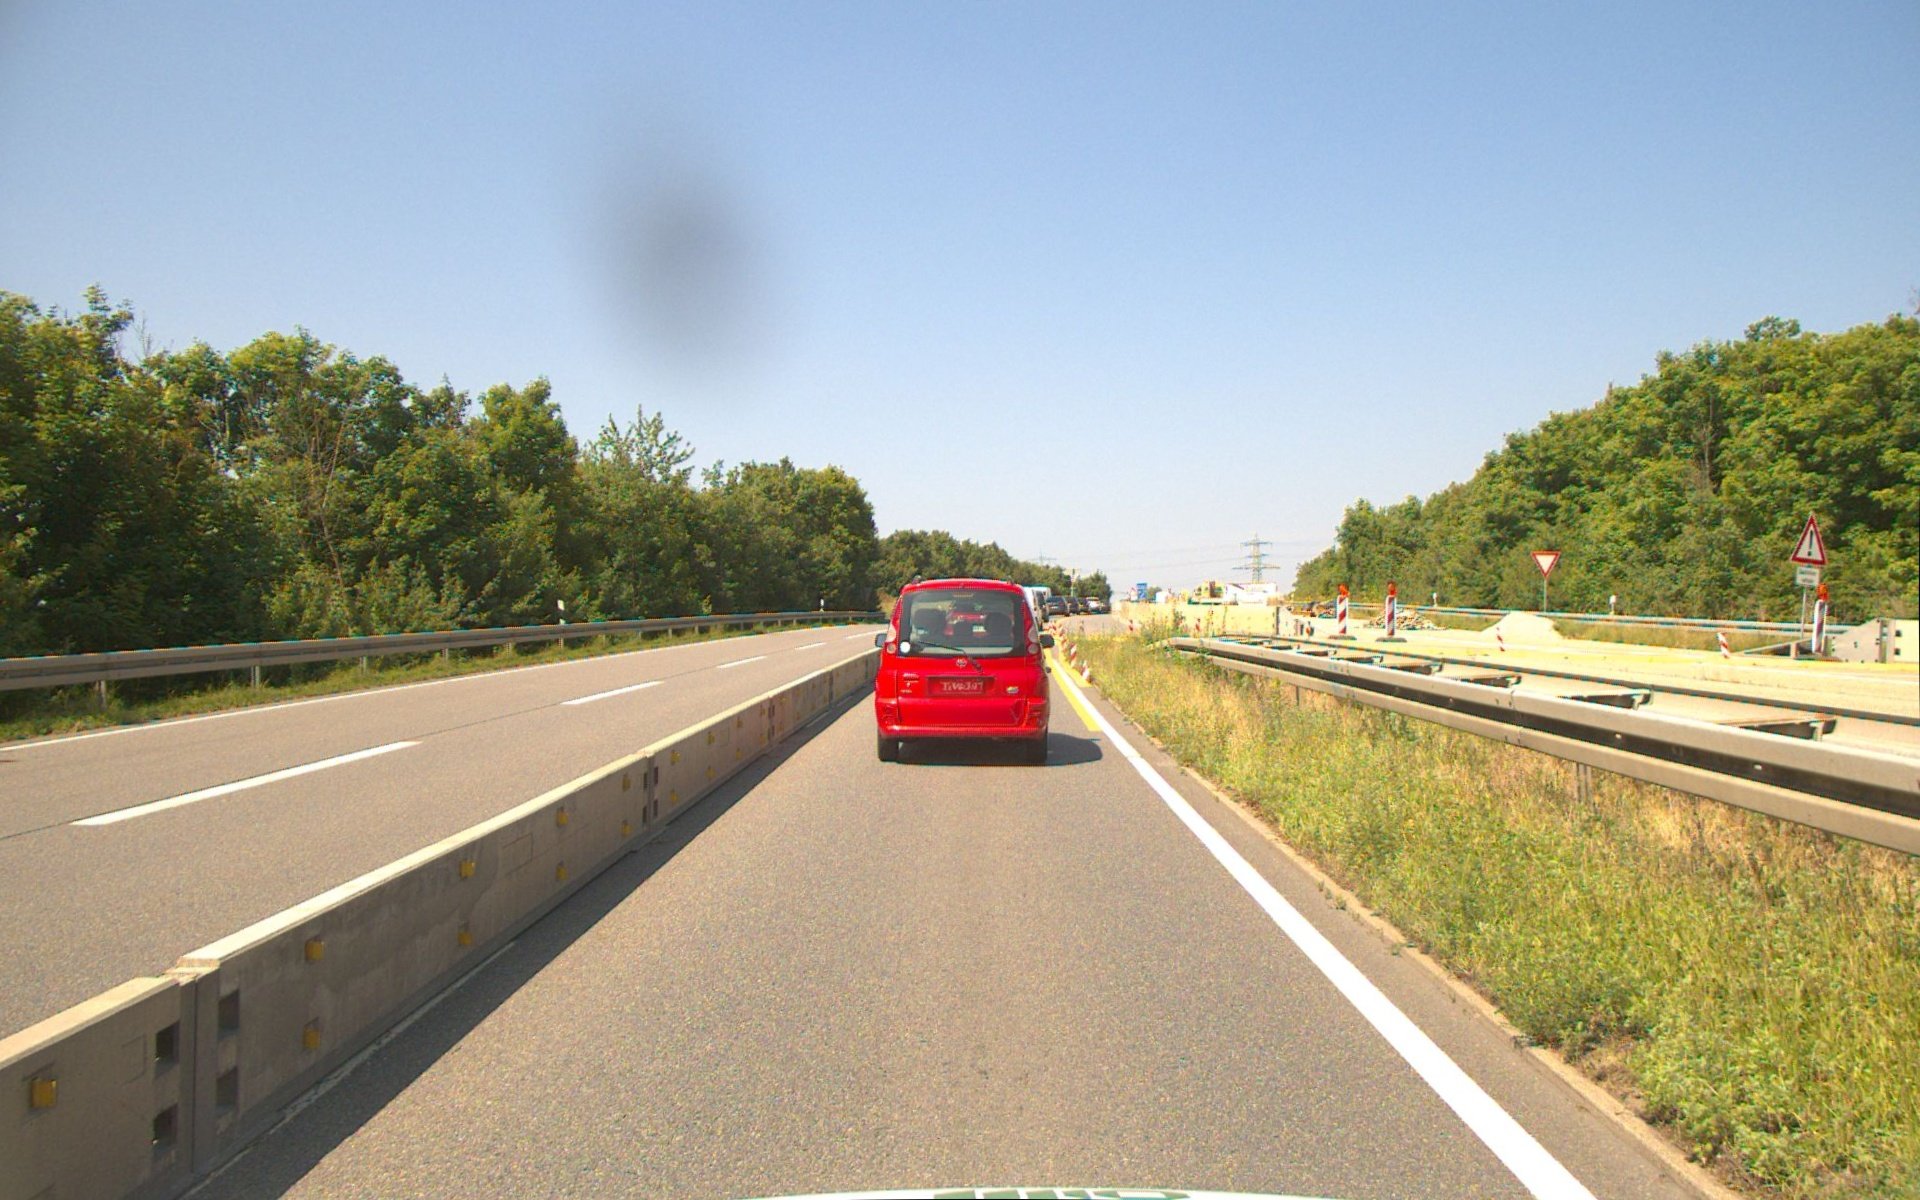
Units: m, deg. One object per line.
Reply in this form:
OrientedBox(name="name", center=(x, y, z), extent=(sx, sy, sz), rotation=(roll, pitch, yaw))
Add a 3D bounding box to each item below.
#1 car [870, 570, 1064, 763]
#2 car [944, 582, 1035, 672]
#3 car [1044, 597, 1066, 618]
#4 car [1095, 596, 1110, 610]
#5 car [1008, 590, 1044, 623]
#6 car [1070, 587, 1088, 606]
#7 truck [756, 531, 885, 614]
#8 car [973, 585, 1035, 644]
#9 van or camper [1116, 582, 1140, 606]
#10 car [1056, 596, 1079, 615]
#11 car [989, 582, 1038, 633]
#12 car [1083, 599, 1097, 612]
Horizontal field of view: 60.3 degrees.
OrientedBox(name="car", center=(0.065, 0.594, 16.689), extent=(1.716, 1.702, 4.000), rotation=(0, 0, 0))
OrientedBox(name="car", center=(0.617, 0.532, 34.670), extent=(1.792, 1.752, 4.000), rotation=(0, 0, 1))
OrientedBox(name="car", center=(6.900, 0.529, 120.131), extent=(1.471, 1.476, 3.325), rotation=(-1, 0, 1))
OrientedBox(name="car", center=(16.030, 0.331, 186.189), extent=(1.470, 1.476, 3.171), rotation=(0, 0, 3))
OrientedBox(name="car", center=(3.734, 0.345, 93.736), extent=(1.952, 1.780, 4.001), rotation=(1, 0, 1))
OrientedBox(name="car", center=(11.231, -0.291, 156.371), extent=(1.471, 1.767, 3.170), rotation=(0, 0, 1))
OrientedBox(name="truck", center=(-9.596, -1.891, 114.606), extent=(8.441, 5.469, 3.390), rotation=(-1, 0, 2))
OrientedBox(name="car", center=(1.459, 0.452, 54.381), extent=(1.952, 1.870, 4.001), rotation=(0, 0, 2))
OrientedBox(name="van or camper", center=(19.778, -0.740, 194.985), extent=(2.281, 2.754, 4.592), rotation=(0, 0, -2))
OrientedBox(name="car", center=(9.295, 0.454, 142.369), extent=(1.951, 1.613, 4.002), rotation=(0, 0, 4))
OrientedBox(name="car", center=(2.276, 0.298, 69.537), extent=(1.952, 2.039, 4.001), rotation=(1, 0, 2))
OrientedBox(name="car", center=(13.579, 0.555, 173.136), extent=(1.391, 1.321, 2.880), rotation=(0, 0, 3))
